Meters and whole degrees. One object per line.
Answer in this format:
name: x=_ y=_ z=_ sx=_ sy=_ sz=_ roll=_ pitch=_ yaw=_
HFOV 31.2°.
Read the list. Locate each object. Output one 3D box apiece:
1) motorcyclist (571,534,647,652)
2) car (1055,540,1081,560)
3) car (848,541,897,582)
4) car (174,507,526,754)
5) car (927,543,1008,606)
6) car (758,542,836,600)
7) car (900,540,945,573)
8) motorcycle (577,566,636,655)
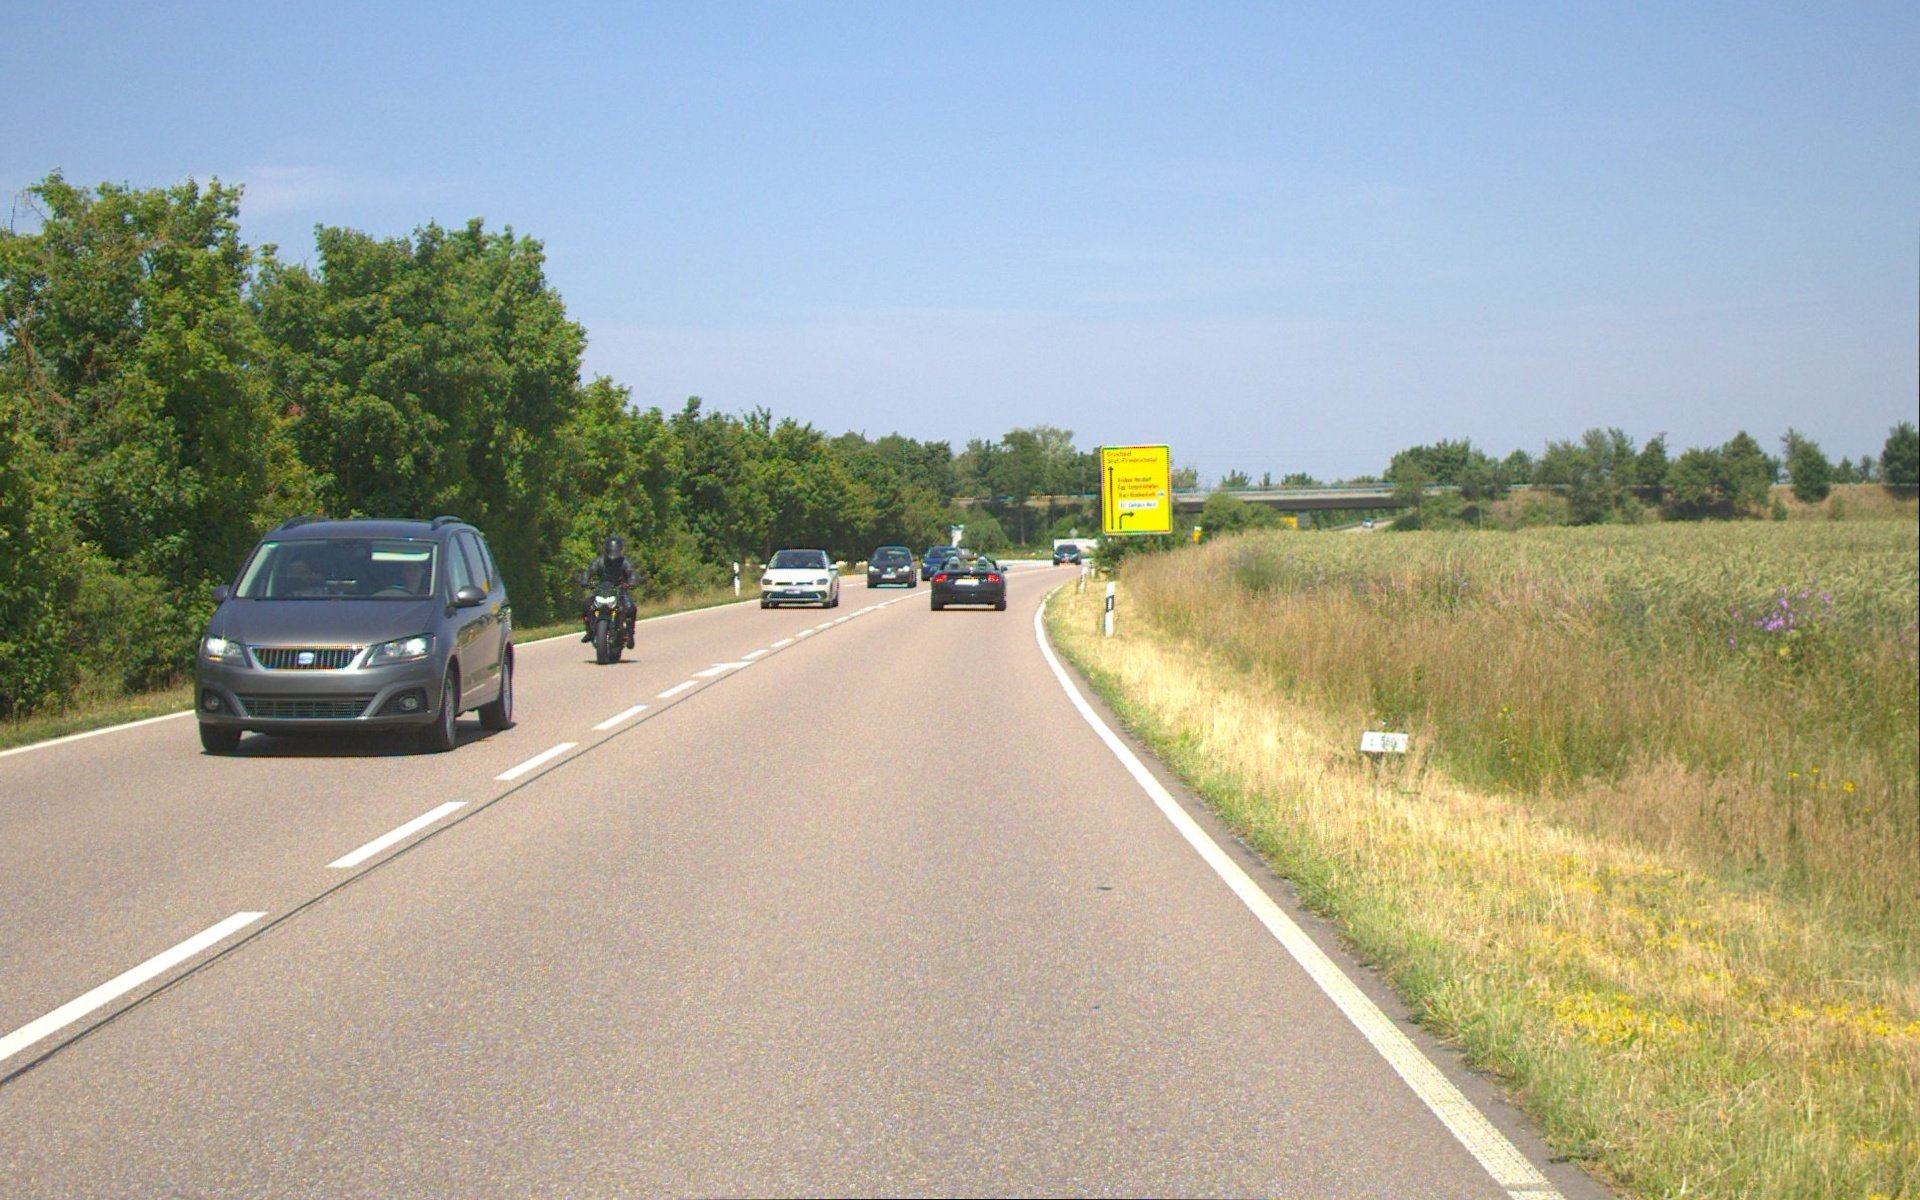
motorcyclist: x=-4.492 y=-0.101 z=44.076 sx=0.835 sy=1.469 sz=1.818 roll=0 pitch=1 yaw=-2
car: x=7.723 y=-3.588 z=246.396 sx=1.782 sy=1.415 sz=4.534 roll=0 pitch=1 yaw=3
car: x=-3.134 y=-1.394 z=123.548 sx=1.597 sy=1.437 sz=4.000 roll=0 pitch=1 yaw=1
car: x=-4.554 y=0.167 z=26.389 sx=1.818 sy=1.695 sz=5.001 roll=1 pitch=1 yaw=0
car: x=0.203 y=-0.615 z=81.968 sx=1.814 sy=1.436 sz=4.000 roll=1 pitch=1 yaw=2
car: x=-3.995 y=-0.727 z=84.744 sx=1.707 sy=1.377 sz=3.819 roll=0 pitch=1 yaw=0
car: x=-1.566 y=-1.852 z=145.760 sx=1.653 sy=1.402 sz=4.000 roll=0 pitch=1 yaw=3
motorcycle: x=-4.539 y=0.120 z=44.184 sx=0.617 sy=1.104 sz=2.022 roll=0 pitch=1 yaw=-2
